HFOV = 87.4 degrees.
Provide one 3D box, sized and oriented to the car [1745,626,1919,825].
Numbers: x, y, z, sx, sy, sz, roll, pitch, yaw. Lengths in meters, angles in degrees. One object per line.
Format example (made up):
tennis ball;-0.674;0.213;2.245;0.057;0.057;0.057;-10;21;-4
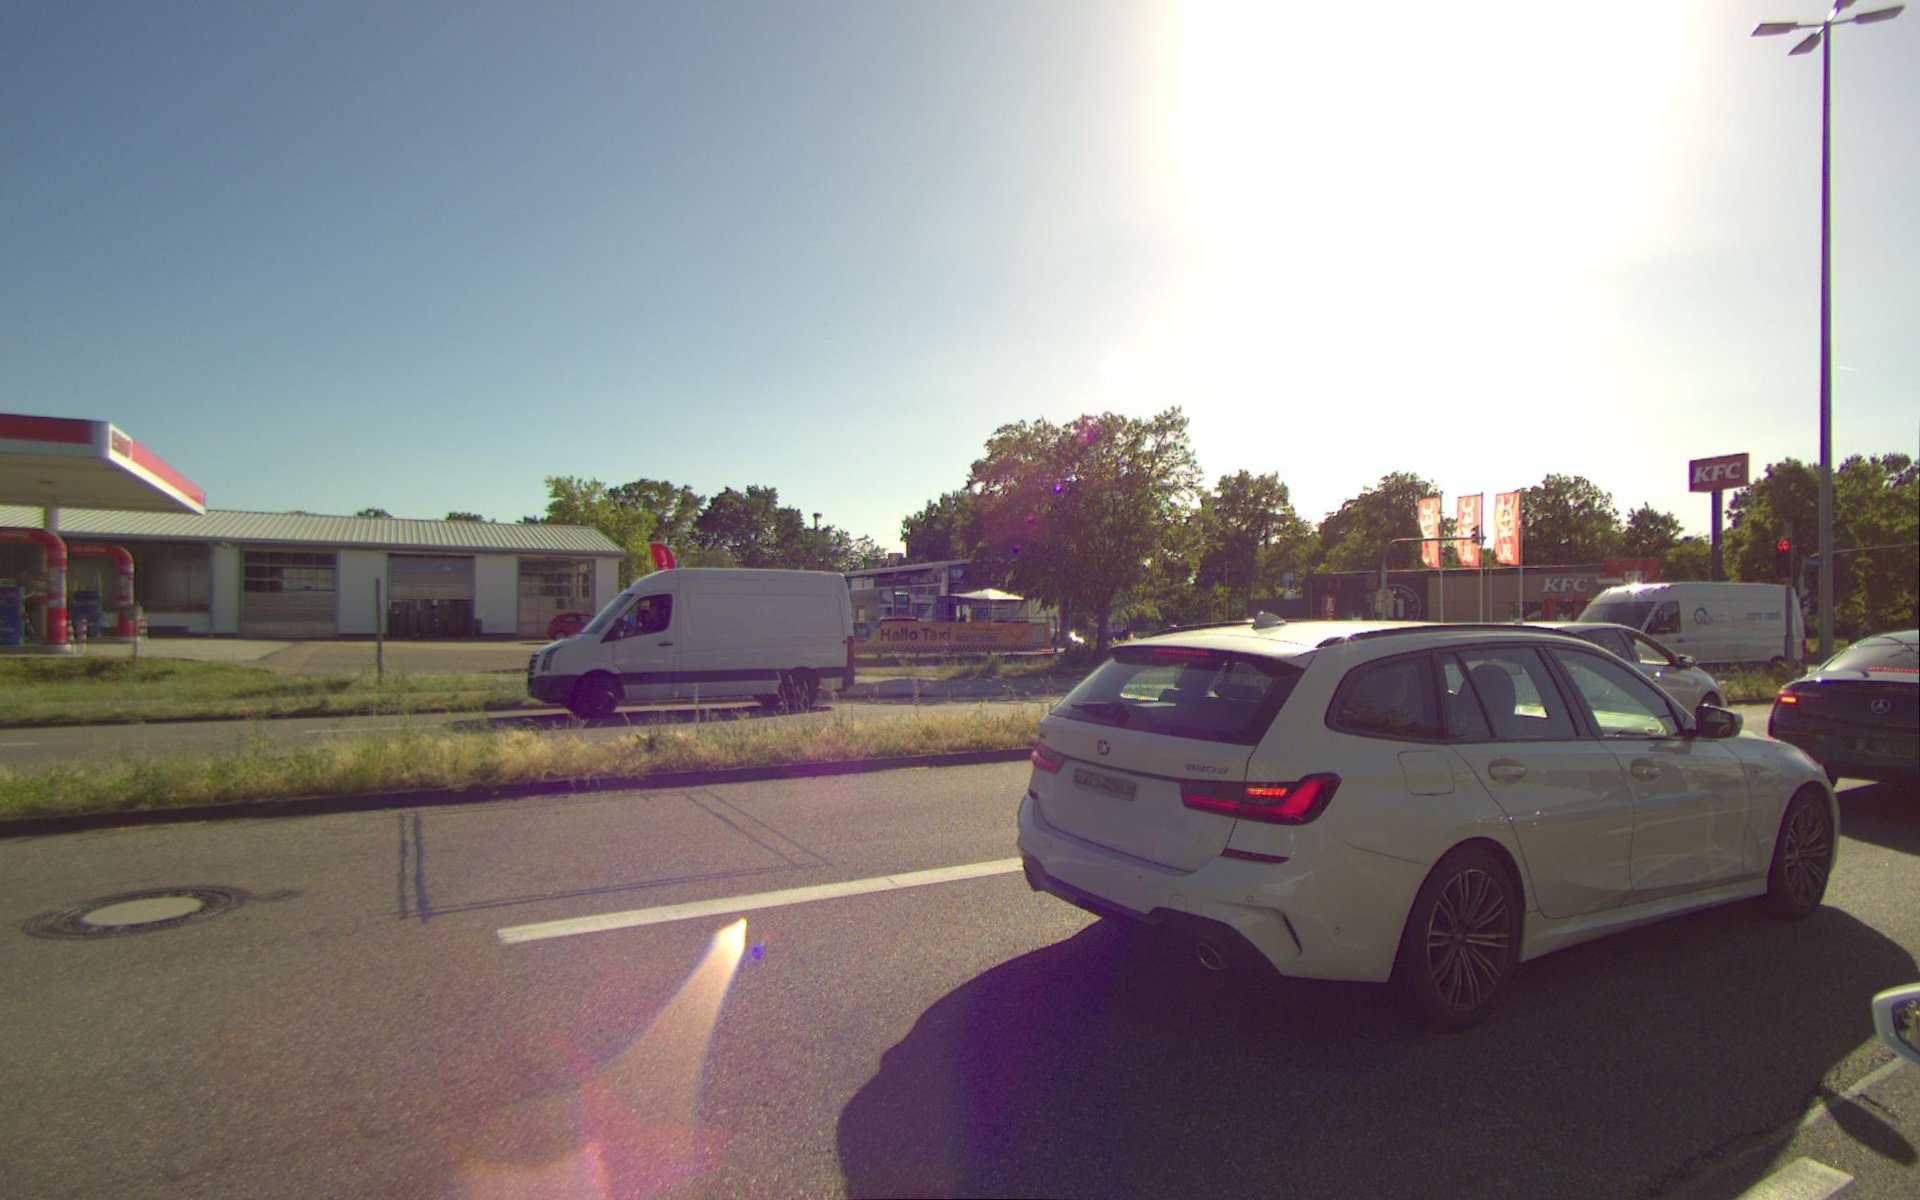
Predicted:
car;8.791;0.960;8.618;4.409;1.433;1.760;1;-1;-30

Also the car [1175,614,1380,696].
car;7.246;1.182;22.819;4.563;1.675;1.983;1;-1;-32

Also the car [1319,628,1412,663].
car;20.055;2.230;49.849;1.804;1.616;4.016;1;-1;-32

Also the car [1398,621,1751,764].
car;7.511;1.002;12.185;4.352;1.448;1.848;1;-1;-30

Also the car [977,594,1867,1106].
car;2.413;0.792;4.897;4.409;1.529;1.760;1;-1;-30

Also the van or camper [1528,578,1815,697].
van or camper;17.103;0.913;24.143;6.650;2.606;2.176;1;-3;-20

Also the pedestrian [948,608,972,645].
pedestrian;-0.004;1.331;50.249;0.806;1.828;0.949;0;-1;41

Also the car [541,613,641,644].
car;-18.161;1.413;49.481;4.486;1.458;1.741;1;-1;-26

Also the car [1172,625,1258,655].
car;13.776;2.130;54.516;1.840;1.449;4.700;0;0;-28

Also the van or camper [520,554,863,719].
van or camper;-4.887;0.700;18.701;5.886;2.685;1.985;1;-3;-30
